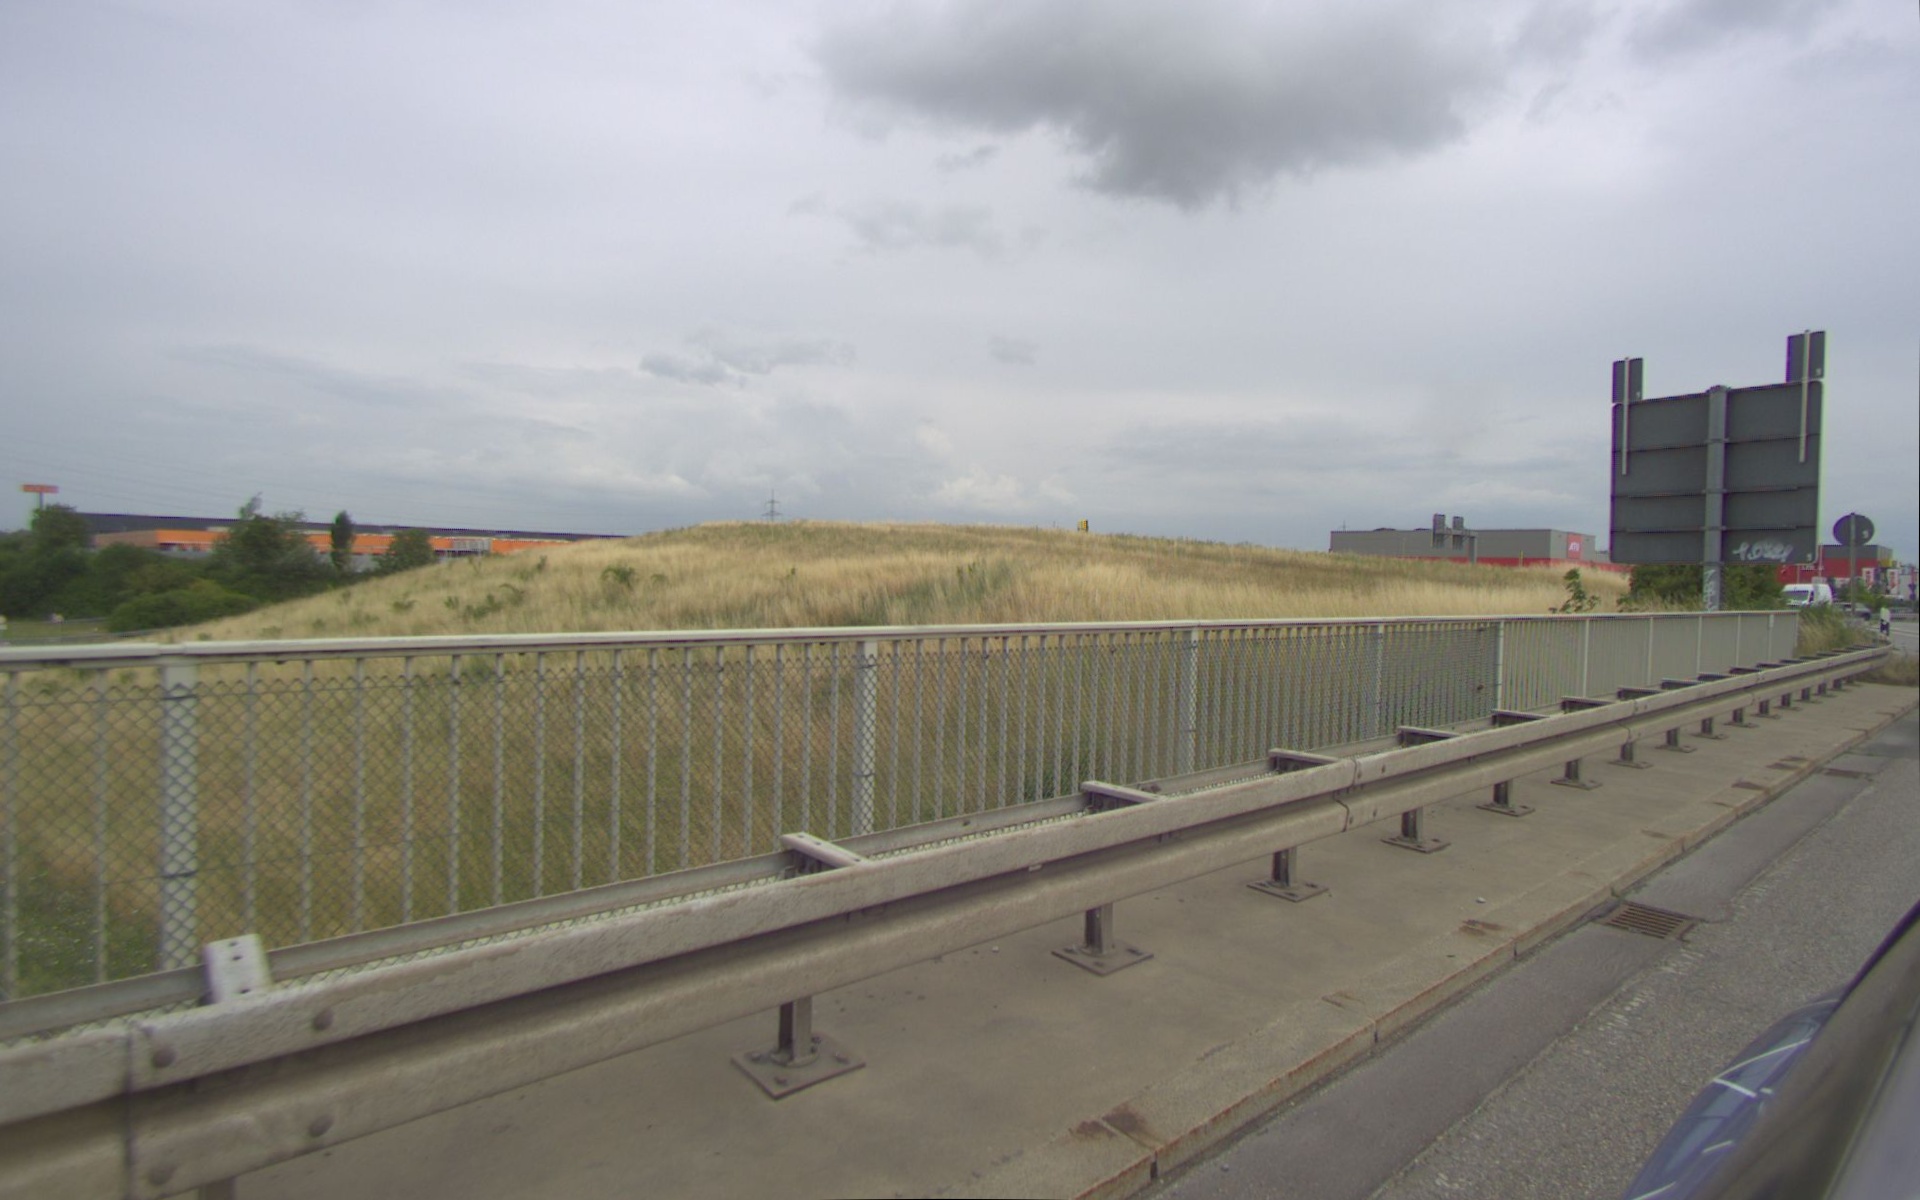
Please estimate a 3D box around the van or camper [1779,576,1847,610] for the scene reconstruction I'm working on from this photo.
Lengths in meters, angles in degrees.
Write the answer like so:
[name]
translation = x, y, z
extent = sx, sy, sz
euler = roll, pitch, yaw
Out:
[van or camper]
translation = 61.690, -0.526, 73.178
extent = 5.430, 2.393, 2.056
euler = 0, 1, -30
